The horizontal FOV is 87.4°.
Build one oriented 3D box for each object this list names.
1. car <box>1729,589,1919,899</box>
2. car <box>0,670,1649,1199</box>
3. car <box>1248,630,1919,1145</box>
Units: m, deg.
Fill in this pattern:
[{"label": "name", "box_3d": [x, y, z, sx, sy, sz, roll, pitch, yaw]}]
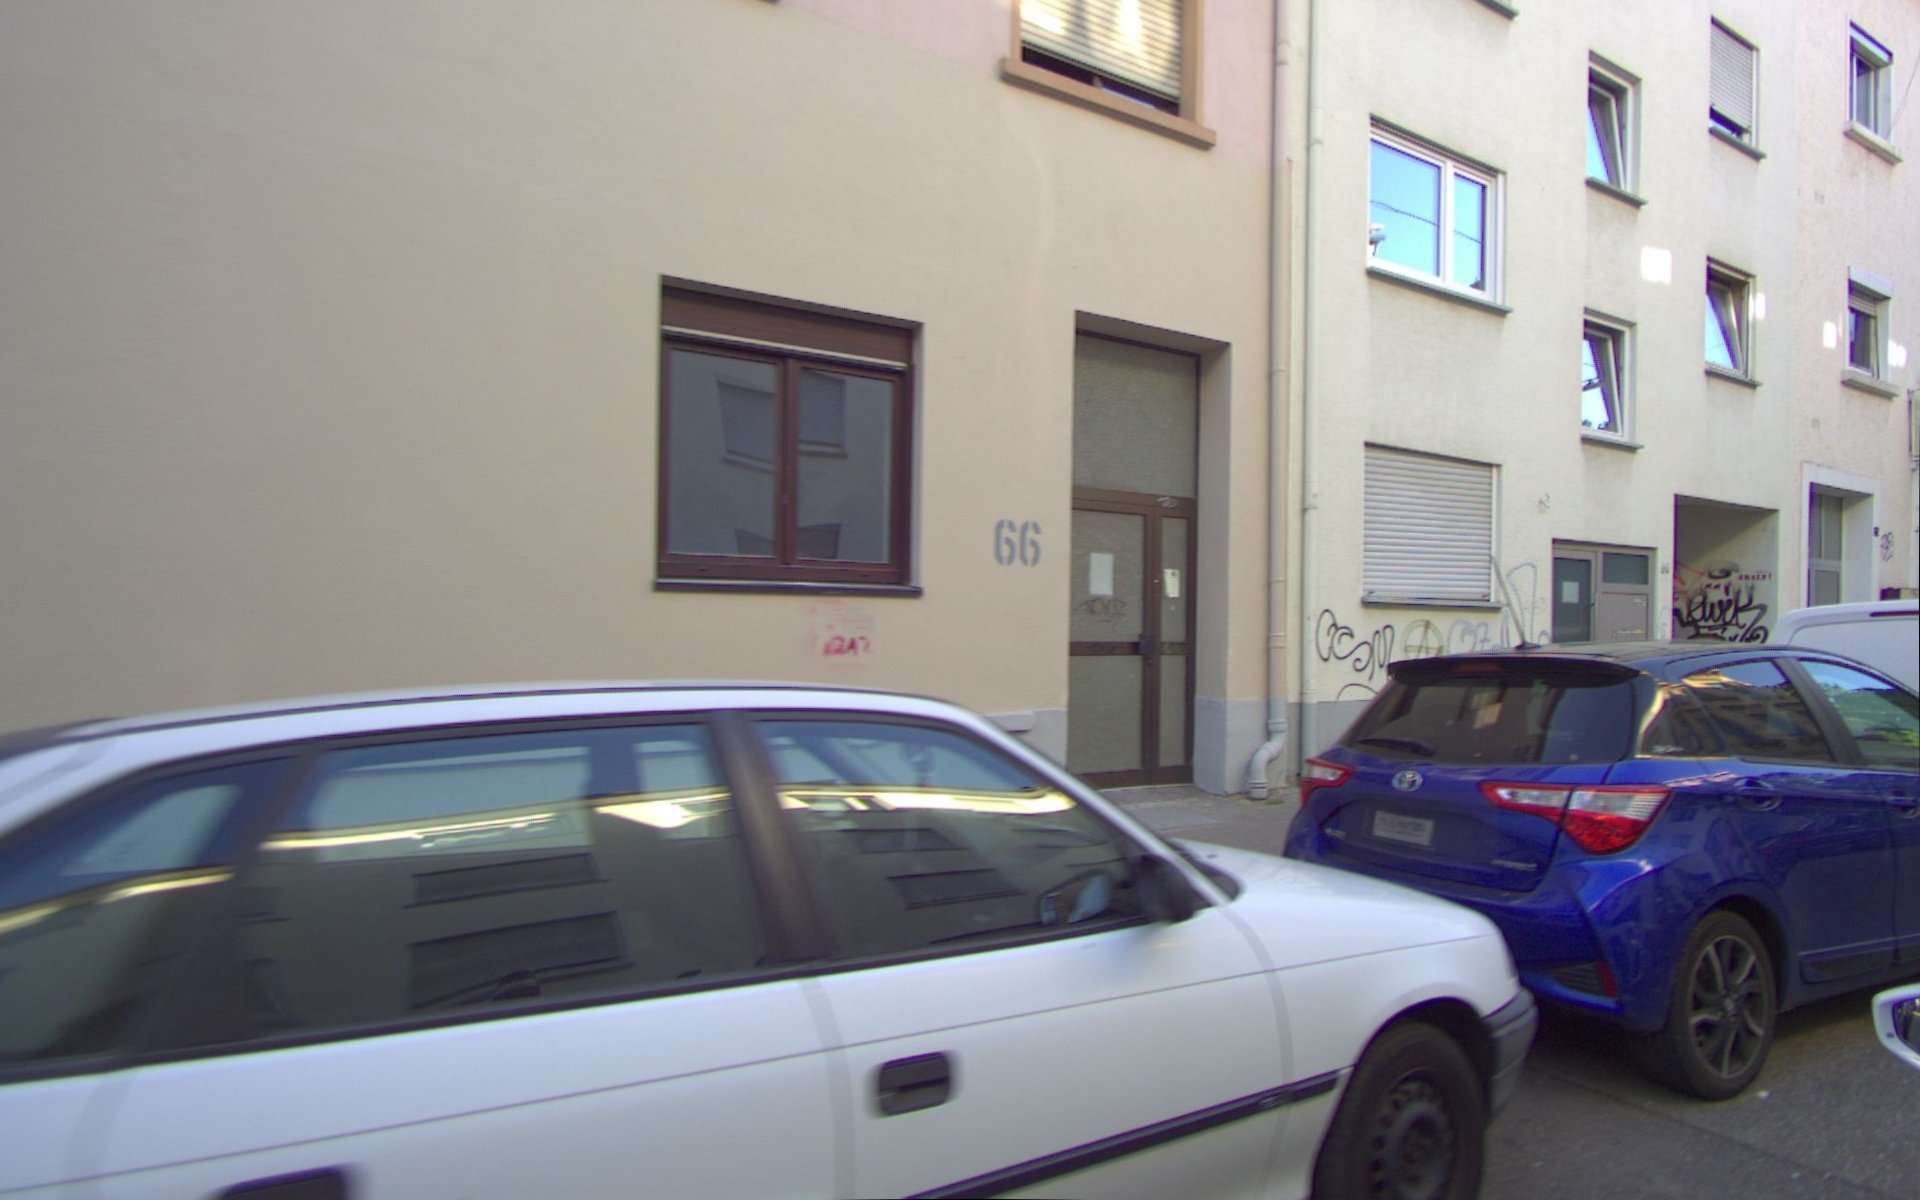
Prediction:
[{"label": "car", "box_3d": [7.295, 0.879, 6.984, 3.993, 1.808, 1.756, 1, -3, -31]}, {"label": "car", "box_3d": [-0.284, 0.932, 2.447, 4.133, 1.406, 1.665, 1, -3, -31]}, {"label": "car", "box_3d": [3.416, 0.902, 4.577, 3.938, 1.505, 1.669, 1, -3, -26]}]
